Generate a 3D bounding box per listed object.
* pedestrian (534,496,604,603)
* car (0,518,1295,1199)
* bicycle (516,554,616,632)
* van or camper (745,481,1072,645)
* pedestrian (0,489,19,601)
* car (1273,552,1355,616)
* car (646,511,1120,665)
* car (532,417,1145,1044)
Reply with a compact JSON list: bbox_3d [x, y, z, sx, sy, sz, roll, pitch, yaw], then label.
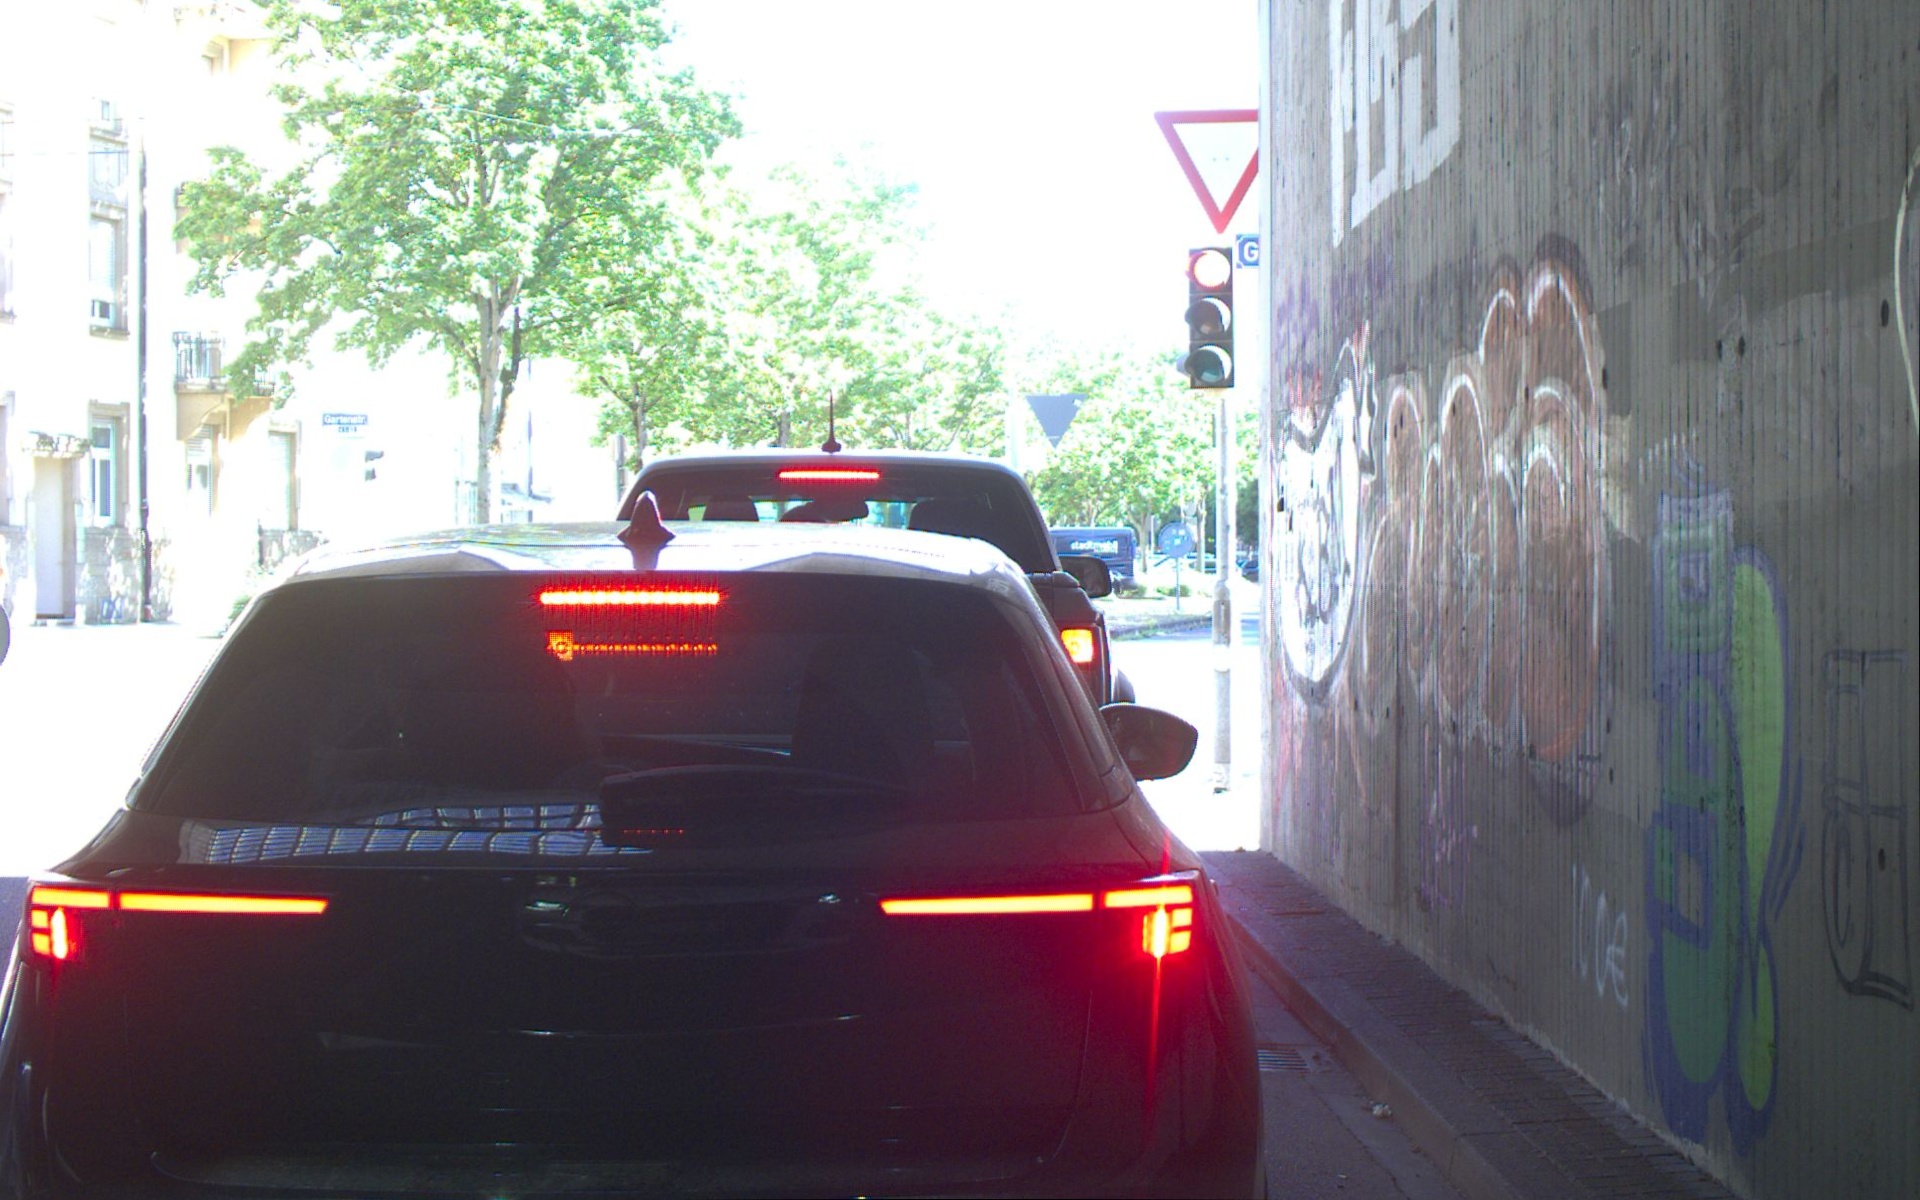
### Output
[{"bbox_3d":[-5.846,-0.750,51.421,0.736,1.579,0.889,1,0,15],"label":"pedestrian"},{"bbox_3d":[-0.492,0.618,6.178,1.753,1.493,4.000,1,1,0],"label":"car"},{"bbox_3d":[-5.872,-0.117,51.347,0.737,1.126,2.025,0,1,17],"label":"bicycle"},{"bbox_3d":[-0.612,-0.473,43.314,3.878,2.007,2.000,0,1,7],"label":"van or camper"},{"bbox_3d":[-14.752,-0.839,52.161,0.623,1.699,0.723,1,0,12],"label":"pedestrian"},{"bbox_3d":[9.590,-0.454,92.879,1.994,1.635,4.591,0,1,9],"label":"car"},{"bbox_3d":[-0.774,-0.163,36.448,4.719,1.529,2.000,-1,1,-36],"label":"car"},{"bbox_3d":[-0.375,0.347,12.103,1.786,1.827,3.961,1,1,0],"label":"car"}]
